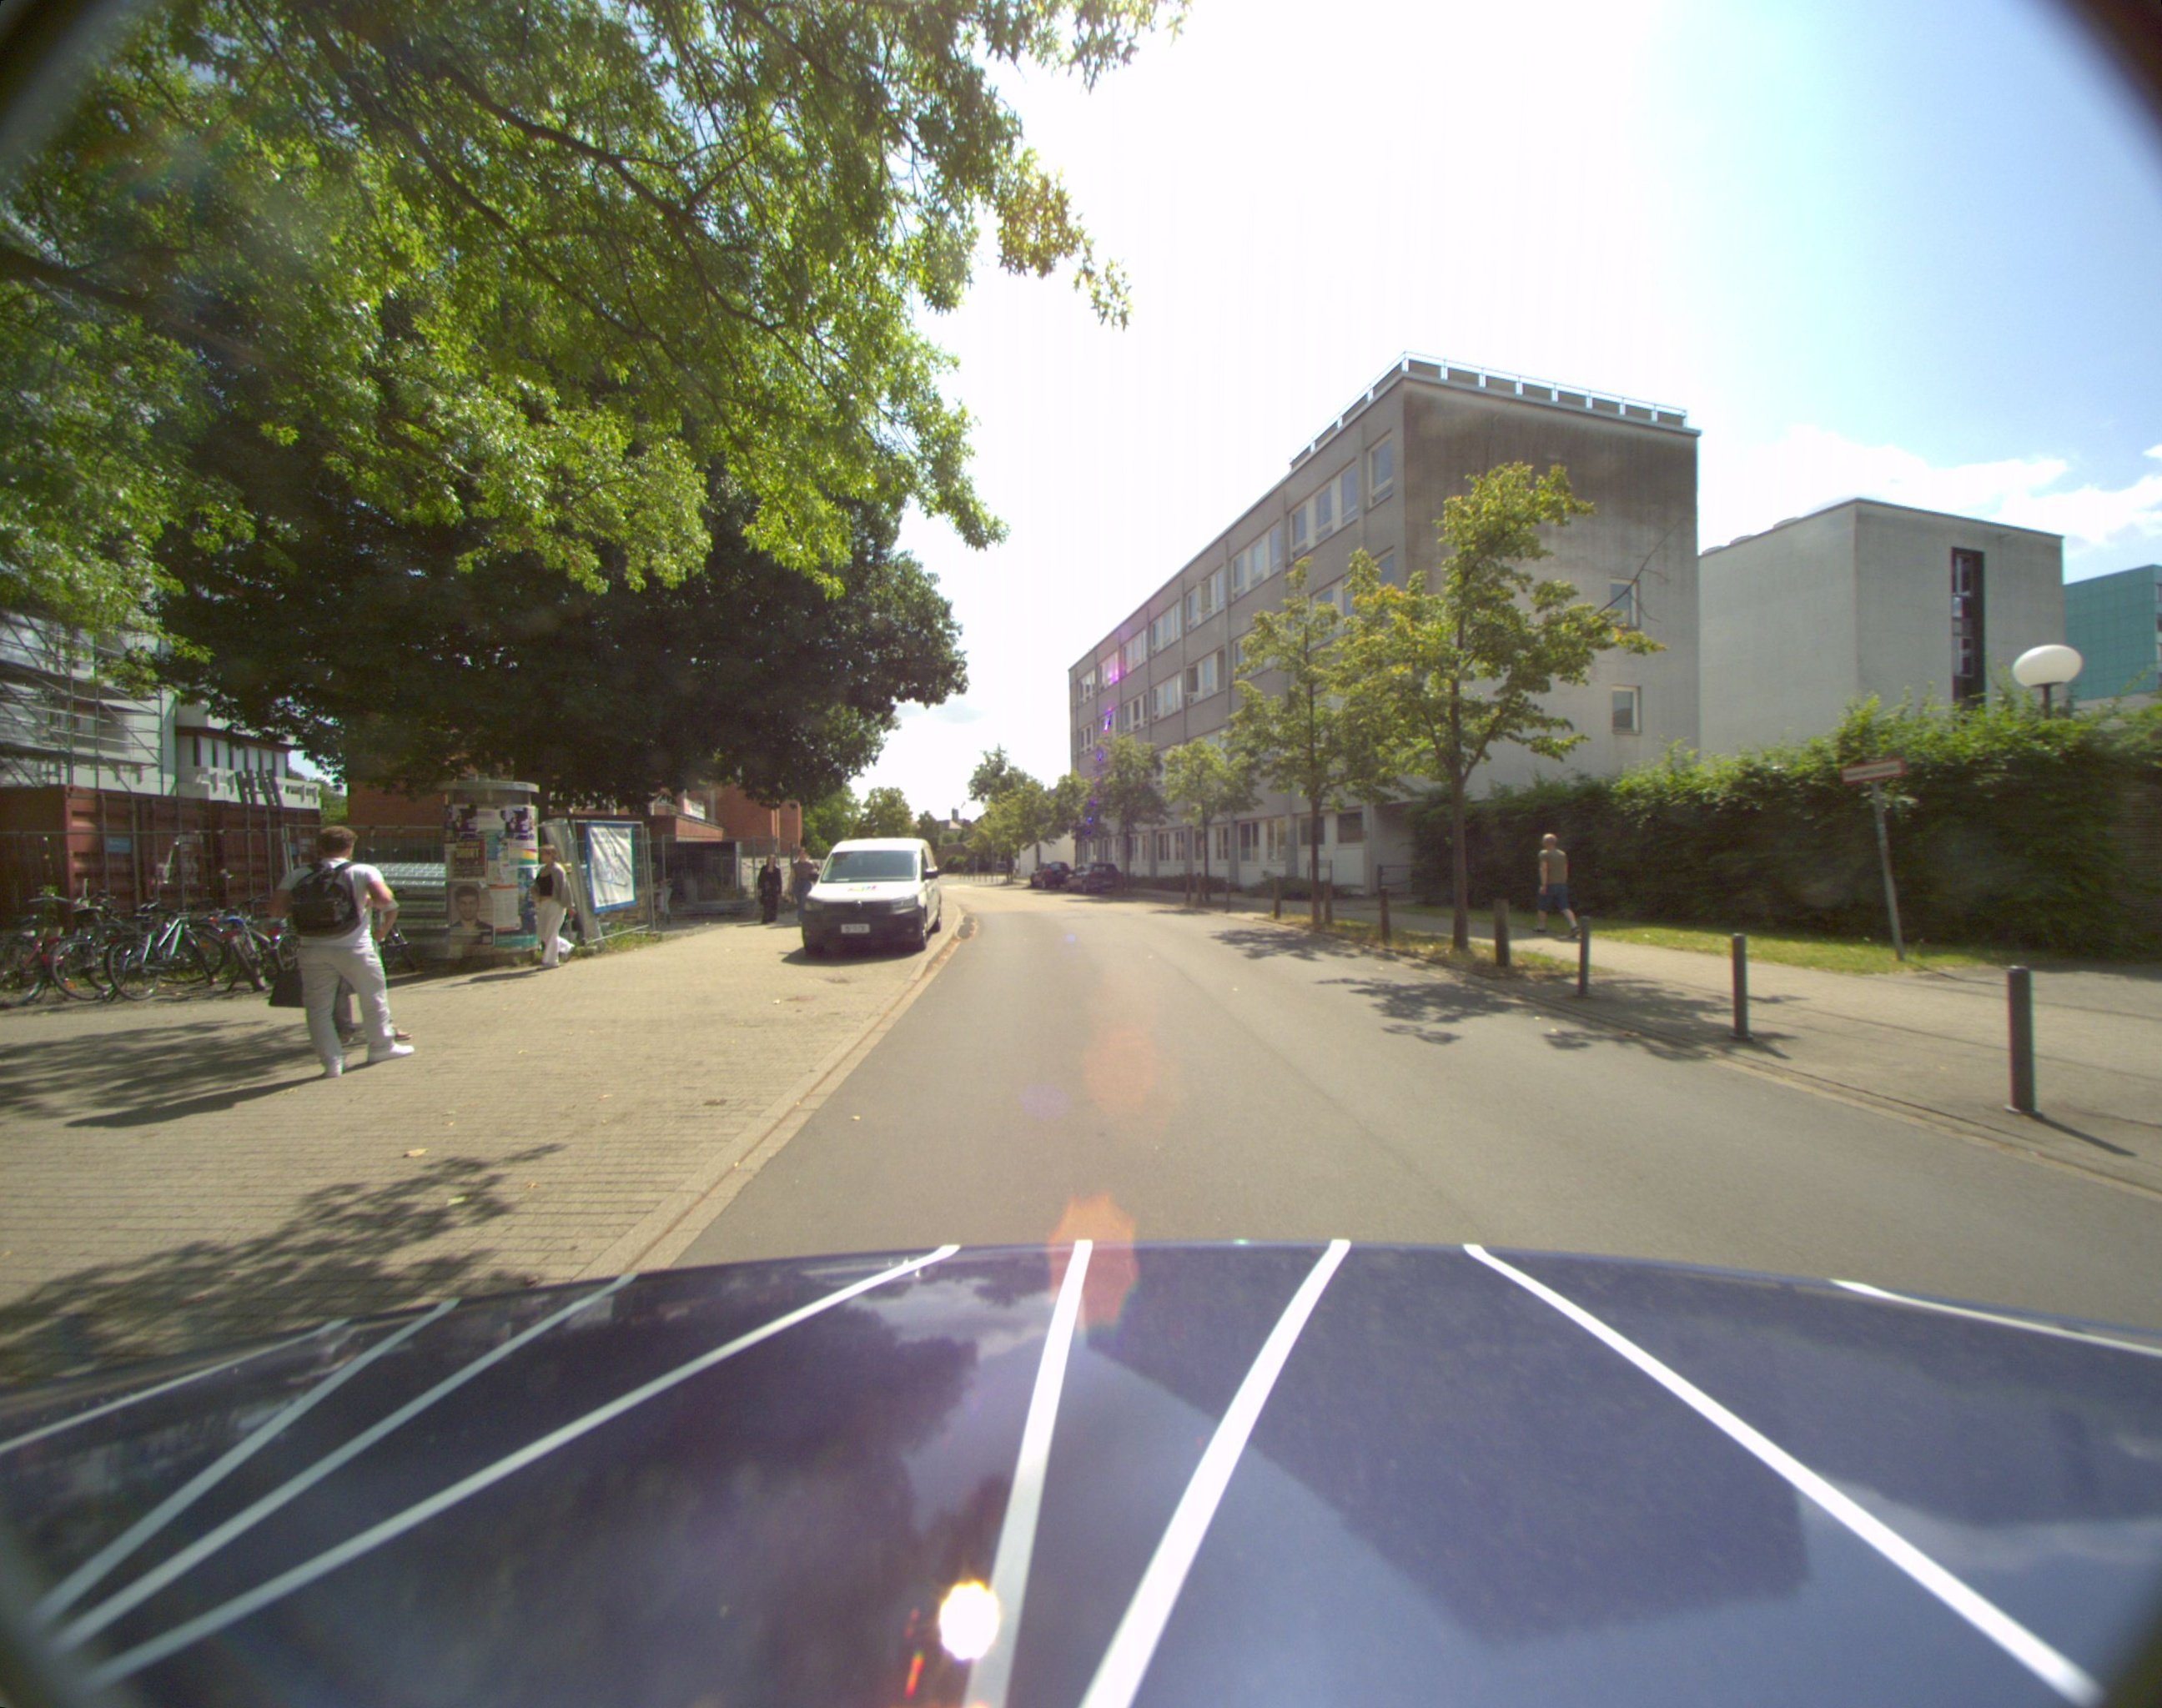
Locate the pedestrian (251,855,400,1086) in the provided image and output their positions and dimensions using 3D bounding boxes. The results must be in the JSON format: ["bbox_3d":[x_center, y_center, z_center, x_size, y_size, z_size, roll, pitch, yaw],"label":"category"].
[{"bbox_3d":[-6.048,0.869,6.095,0.562,1.700,0.747,-1,1,38],"label":"pedestrian"}]

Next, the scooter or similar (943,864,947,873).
[{"bbox_3d":[-18.803,2.017,105.079,0.471,1.209,1.203,-1,0,-12],"label":"scooter or similar"}]

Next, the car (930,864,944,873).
[{"bbox_3d":[-20.556,2.066,108.390,1.703,1.287,3.757,-1,0,-16],"label":"car"}]

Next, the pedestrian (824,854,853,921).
[{"bbox_3d":[-6.238,0.847,19.595,0.652,1.656,0.903,-1,0,-15],"label":"pedestrian"}]

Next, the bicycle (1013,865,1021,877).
[{"bbox_3d":[-5.791,1.492,68.582,0.545,1.055,1.897,-1,0,-12],"label":"bicycle"}]

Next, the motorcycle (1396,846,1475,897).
[{"bbox_3d":[11.197,0.532,24.004,2.104,1.541,1.080,-1,0,-20],"label":"motorcycle"}]

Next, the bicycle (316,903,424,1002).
[{"bbox_3d":[-8.916,1.184,9.597,0.515,1.010,1.804,0,0,-27],"label":"bicycle"}]

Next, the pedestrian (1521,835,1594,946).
[{"bbox_3d":[7.843,0.577,12.547,0.585,1.754,0.911,-1,0,-2],"label":"pedestrian"}]

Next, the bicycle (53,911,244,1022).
[{"bbox_3d":[-10.700,1.239,8.818,0.515,1.010,1.805,0,0,-19],"label":"bicycle"}]

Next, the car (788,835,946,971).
[{"bbox_3d":[-3.424,0.691,13.089,1.854,1.880,4.887,-1,0,-7],"label":"car"}]

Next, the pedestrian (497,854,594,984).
[{"bbox_3d":[-7.002,0.821,9.958,0.713,1.622,0.712,-1,1,15],"label":"pedestrian"}]

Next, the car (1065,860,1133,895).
[{"bbox_3d":[0.786,1.048,35.525,1.785,1.452,4.252,-2,0,-18],"label":"car"}]

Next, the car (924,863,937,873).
[{"bbox_3d":[-22.727,2.104,114.676,1.637,1.422,3.628,-1,0,-17],"label":"car"}]

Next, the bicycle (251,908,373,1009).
[{"bbox_3d":[-9.485,1.237,9.444,0.515,1.010,1.804,0,0,-27],"label":"bicycle"}]

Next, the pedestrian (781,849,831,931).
[{"bbox_3d":[-6.008,0.769,16.623,0.852,1.753,0.715,-1,0,-5],"label":"pedestrian"}]

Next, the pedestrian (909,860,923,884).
[{"bbox_3d":[-12.582,1.386,57.947,0.827,1.807,1.142,-1,0,-22],"label":"pedestrian"}]

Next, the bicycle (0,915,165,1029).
[{"bbox_3d":[-11.373,1.264,8.480,0.514,1.010,1.806,0,0,-15],"label":"bicycle"}]

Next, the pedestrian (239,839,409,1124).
[{"bbox_3d":[-5.269,0.814,5.299,0.628,1.811,0.725,-1,1,38],"label":"pedestrian"}]

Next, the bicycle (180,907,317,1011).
[{"bbox_3d":[-10.045,1.220,9.243,0.515,1.010,1.804,0,0,-27],"label":"bicycle"}]

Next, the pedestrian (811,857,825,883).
[{"bbox_3d":[-18.975,1.137,54.849,0.847,1.823,1.195,-1,0,-22],"label":"pedestrian"}]

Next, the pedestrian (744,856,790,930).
[{"bbox_3d":[-6.930,0.841,16.805,0.670,1.590,0.985,-1,0,-5],"label":"pedestrian"}]

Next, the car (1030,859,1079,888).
[{"bbox_3d":[-1.572,1.095,43.688,1.704,1.555,4.061,-1,0,-18],"label":"car"}]
